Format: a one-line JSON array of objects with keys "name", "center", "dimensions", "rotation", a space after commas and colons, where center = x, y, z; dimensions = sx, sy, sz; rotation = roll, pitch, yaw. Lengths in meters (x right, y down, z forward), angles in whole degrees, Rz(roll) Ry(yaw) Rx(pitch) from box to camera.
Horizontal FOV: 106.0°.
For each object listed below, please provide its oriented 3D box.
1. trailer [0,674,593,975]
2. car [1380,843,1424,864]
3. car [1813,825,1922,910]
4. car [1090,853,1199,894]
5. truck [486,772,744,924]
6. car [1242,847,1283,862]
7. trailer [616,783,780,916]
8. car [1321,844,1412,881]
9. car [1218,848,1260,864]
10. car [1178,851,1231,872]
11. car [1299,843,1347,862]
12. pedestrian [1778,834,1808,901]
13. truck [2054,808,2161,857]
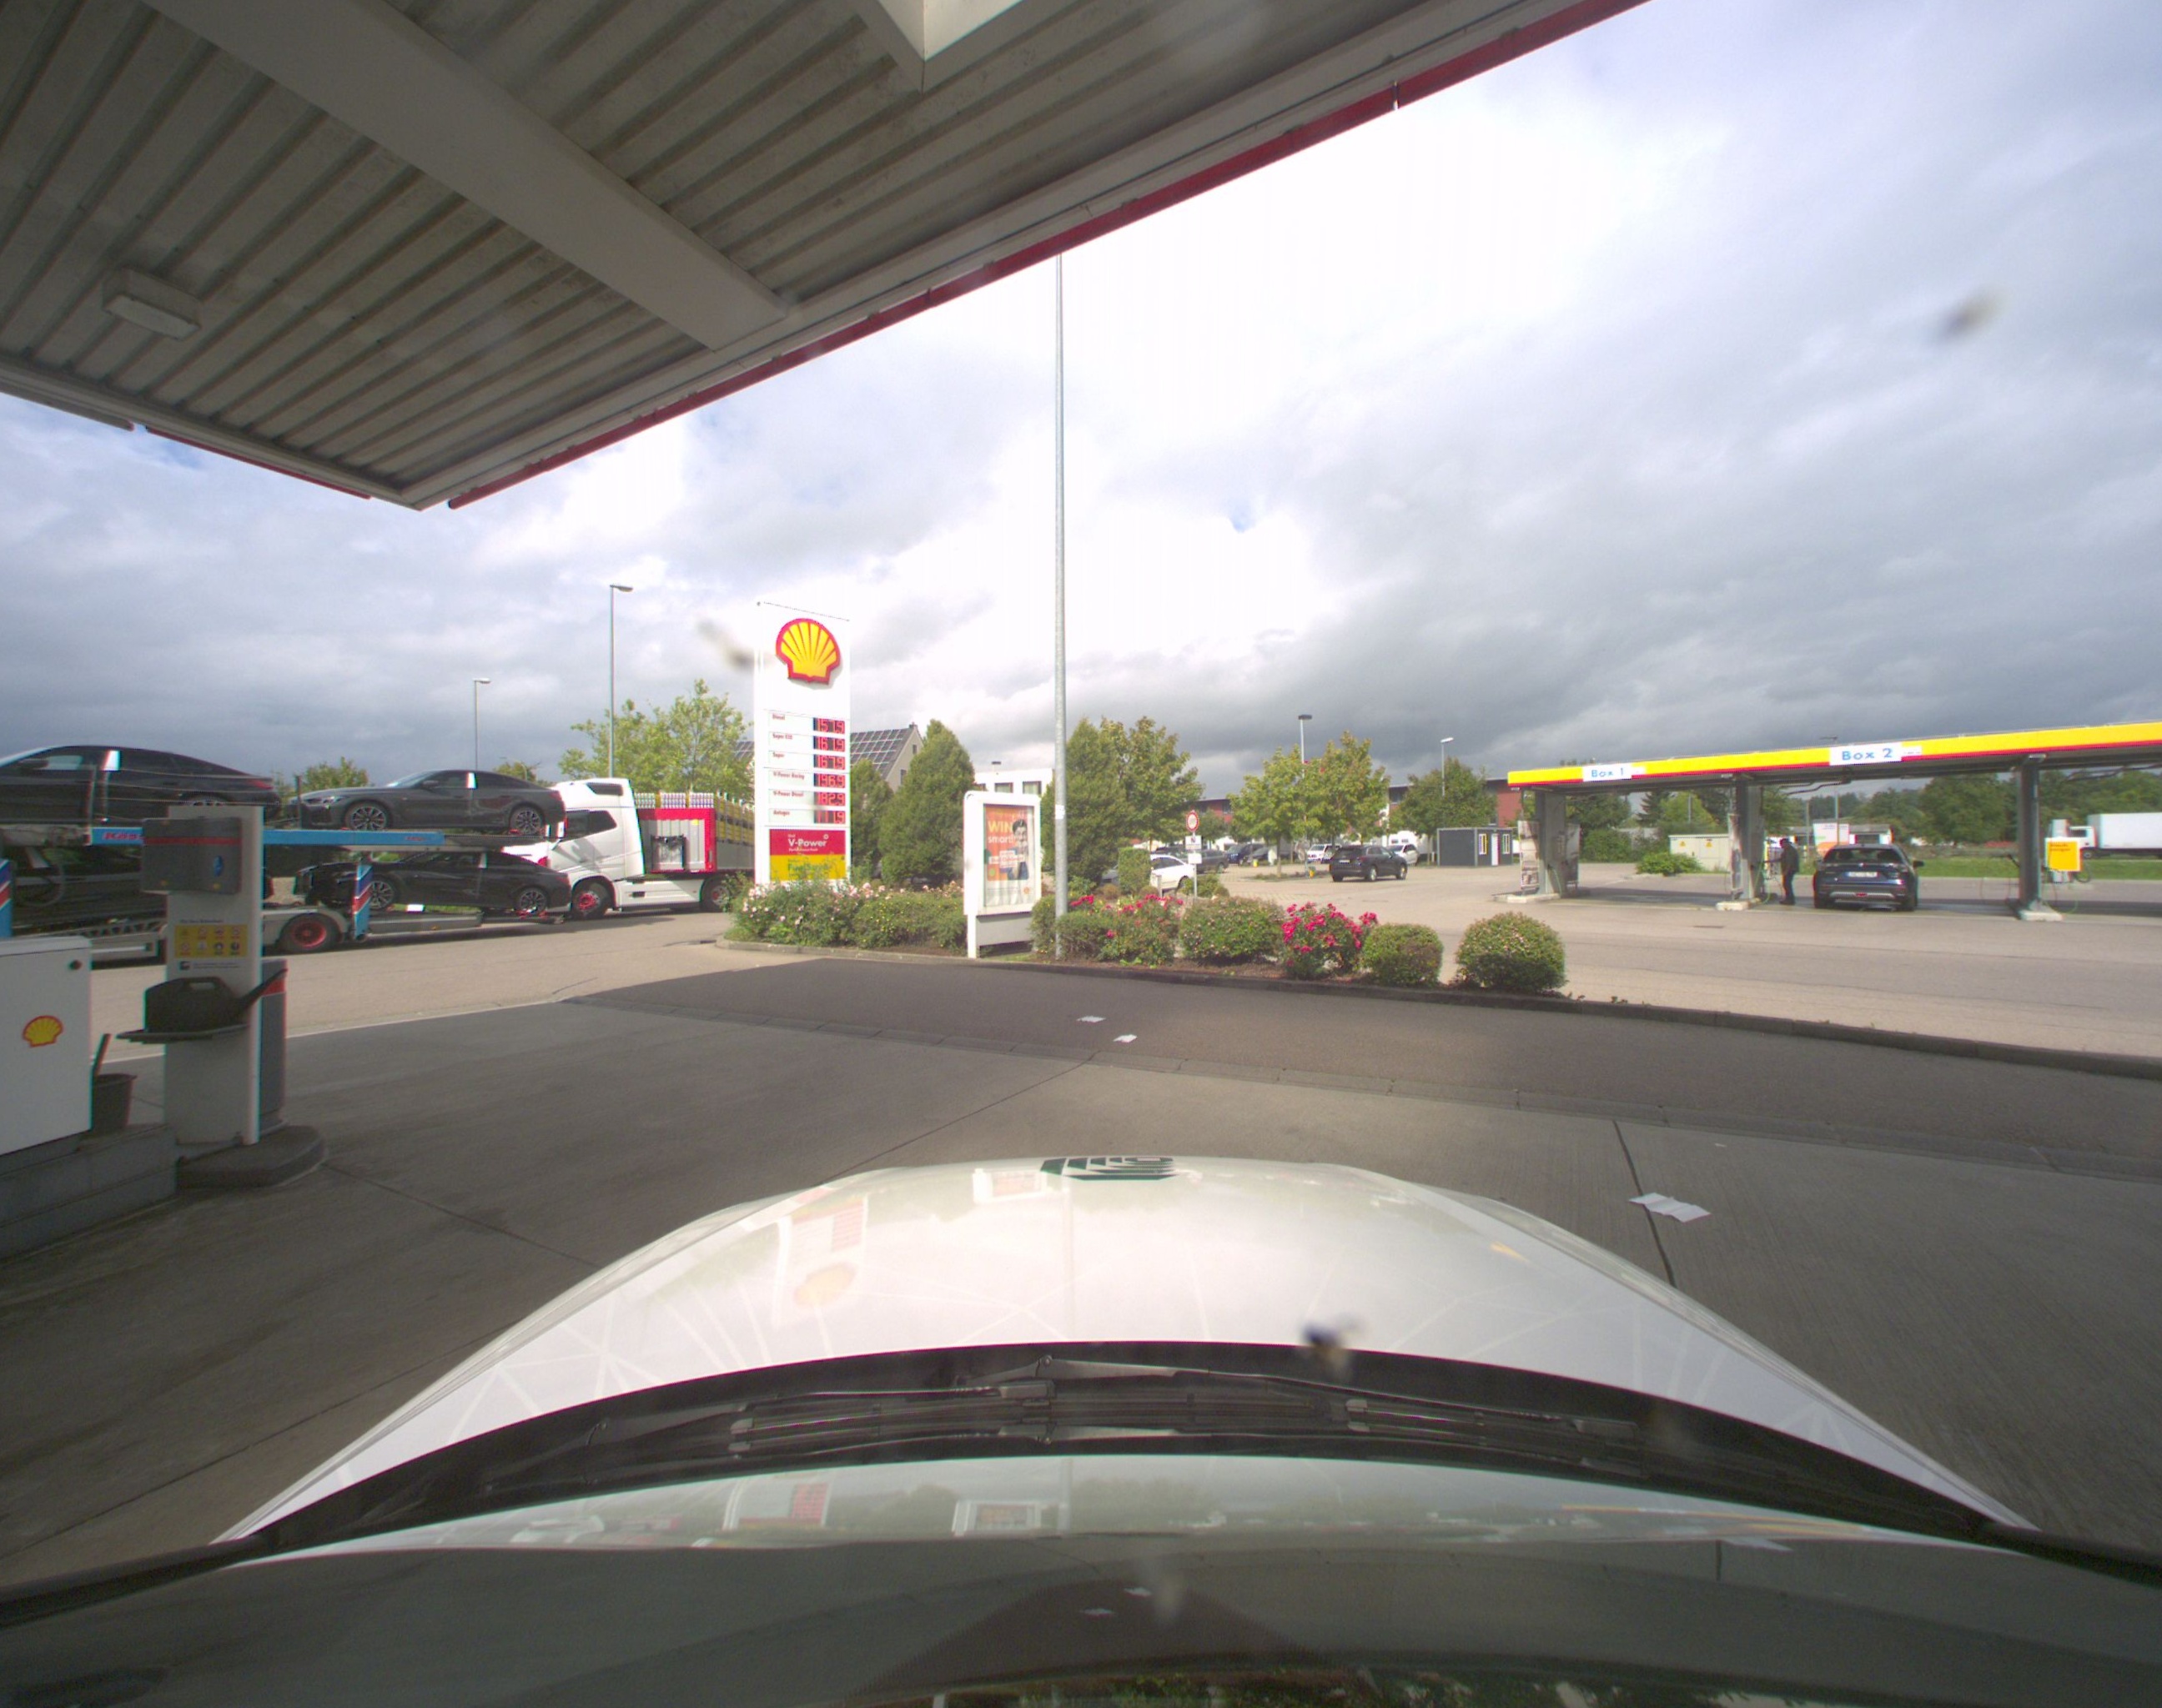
[{"name": "trailer", "center": [-16.424, -0.414, 13.708], "dimensions": [2.711, 4.423, 14.450], "rotation": [-1, -1, 31]}, {"name": "car", "center": [20.617, -0.053, 52.241], "dimensions": [3.120, 1.307, 1.352], "rotation": [0, -1, -42]}, {"name": "car", "center": [19.448, 0.310, 20.100], "dimensions": [3.828, 1.897, 1.703], "rotation": [0, -1, -43]}, {"name": "car", "center": [2.404, 0.679, 30.046], "dimensions": [4.368, 1.404, 1.354], "rotation": [0, -1, -42]}, {"name": "truck", "center": [-13.364, -0.134, 23.808], "dimensions": [2.706, 3.846, 5.956], "rotation": [-1, -1, 36]}, {"name": "car", "center": [14.502, 0.028, 64.901], "dimensions": [3.437, 1.179, 1.468], "rotation": [0, -1, -42]}, {"name": "trailer", "center": [-13.295, -0.085, 29.672], "dimensions": [2.733, 3.776, 12.656], "rotation": [0, -1, -13]}, {"name": "car", "center": [12.886, 0.369, 36.605], "dimensions": [4.527, 1.548, 1.864], "rotation": [0, -1, -41]}, {"name": "car", "center": [12.959, 0.176, 66.685], "dimensions": [3.407, 1.320, 1.726], "rotation": [0, -1, -42]}, {"name": "car", "center": [7.549, 0.443, 49.730], "dimensions": [3.245, 1.228, 1.488], "rotation": [0, -1, -42]}, {"name": "car", "center": [23.882, -0.130, 80.294], "dimensions": [4.903, 1.833, 2.159], "rotation": [0, -1, -41]}, {"name": "pedestrian", "center": [18.536, 0.342, 21.195], "dimensions": [0.551, 1.722, 0.531], "rotation": [-1, -1, 42]}, {"name": "truck", "center": [78.240, -1.571, 60.035], "dimensions": [7.989, 3.534, 2.714], "rotation": [-1, -1, 41]}]
